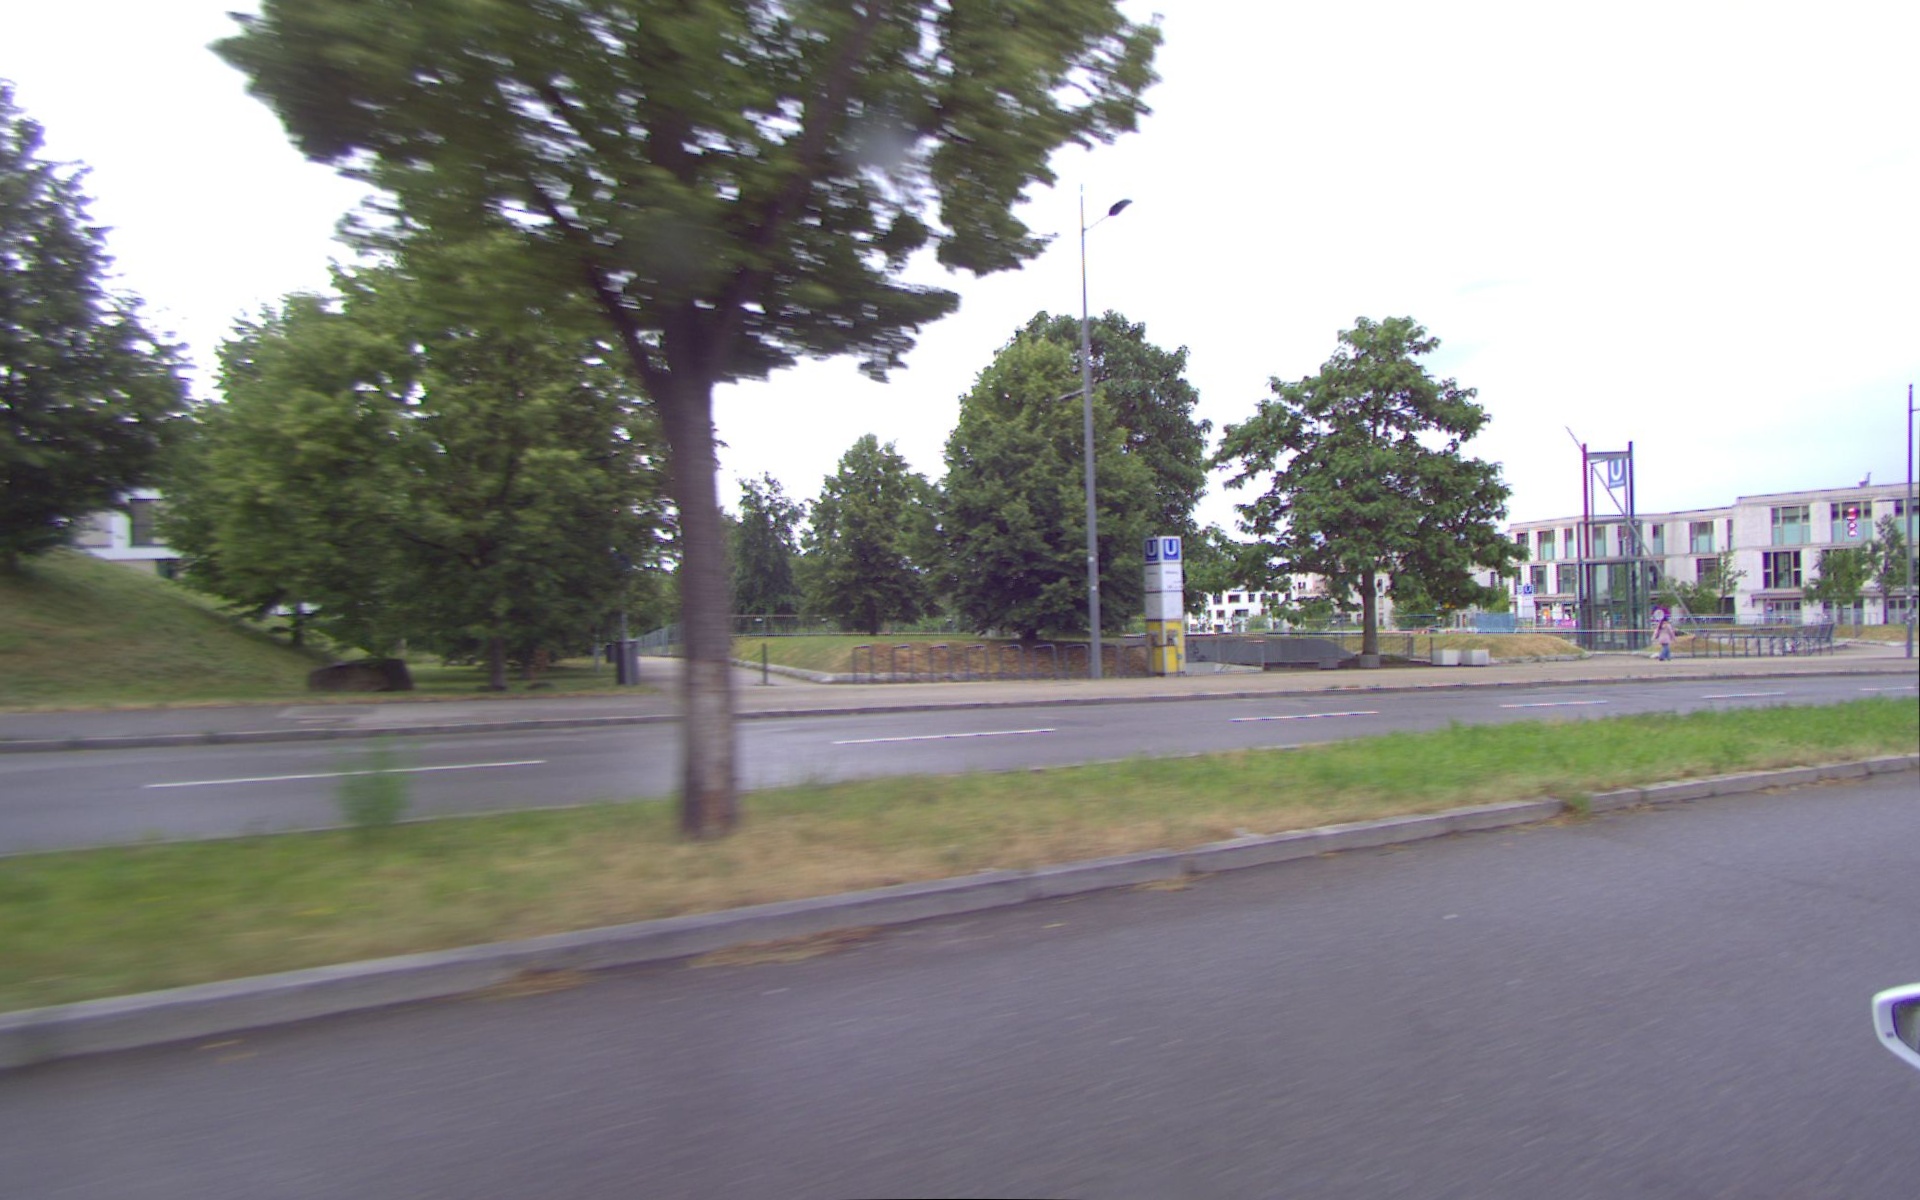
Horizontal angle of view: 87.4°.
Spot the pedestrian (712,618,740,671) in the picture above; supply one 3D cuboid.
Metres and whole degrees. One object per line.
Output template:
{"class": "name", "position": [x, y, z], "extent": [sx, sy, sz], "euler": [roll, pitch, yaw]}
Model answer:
{"class": "pedestrian", "position": [-7.859, 1.488, 33.709], "extent": [0.745, 1.751, 0.643], "euler": [2, -1, -26]}

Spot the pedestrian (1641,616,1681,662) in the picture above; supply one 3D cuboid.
{"class": "pedestrian", "position": [25.217, 1.397, 36.137], "extent": [0.923, 1.642, 0.811], "euler": [2, -1, -25]}

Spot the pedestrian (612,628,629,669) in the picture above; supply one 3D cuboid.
{"class": "pedestrian", "position": [-14.898, 2.123, 44.107], "extent": [0.638, 1.751, 0.752], "euler": [2, -1, -20]}

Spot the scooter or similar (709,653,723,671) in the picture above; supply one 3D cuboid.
{"class": "scooter or similar", "position": [-8.292, 2.113, 34.111], "extent": [0.354, 0.605, 0.389], "euler": [2, -1, -26]}
